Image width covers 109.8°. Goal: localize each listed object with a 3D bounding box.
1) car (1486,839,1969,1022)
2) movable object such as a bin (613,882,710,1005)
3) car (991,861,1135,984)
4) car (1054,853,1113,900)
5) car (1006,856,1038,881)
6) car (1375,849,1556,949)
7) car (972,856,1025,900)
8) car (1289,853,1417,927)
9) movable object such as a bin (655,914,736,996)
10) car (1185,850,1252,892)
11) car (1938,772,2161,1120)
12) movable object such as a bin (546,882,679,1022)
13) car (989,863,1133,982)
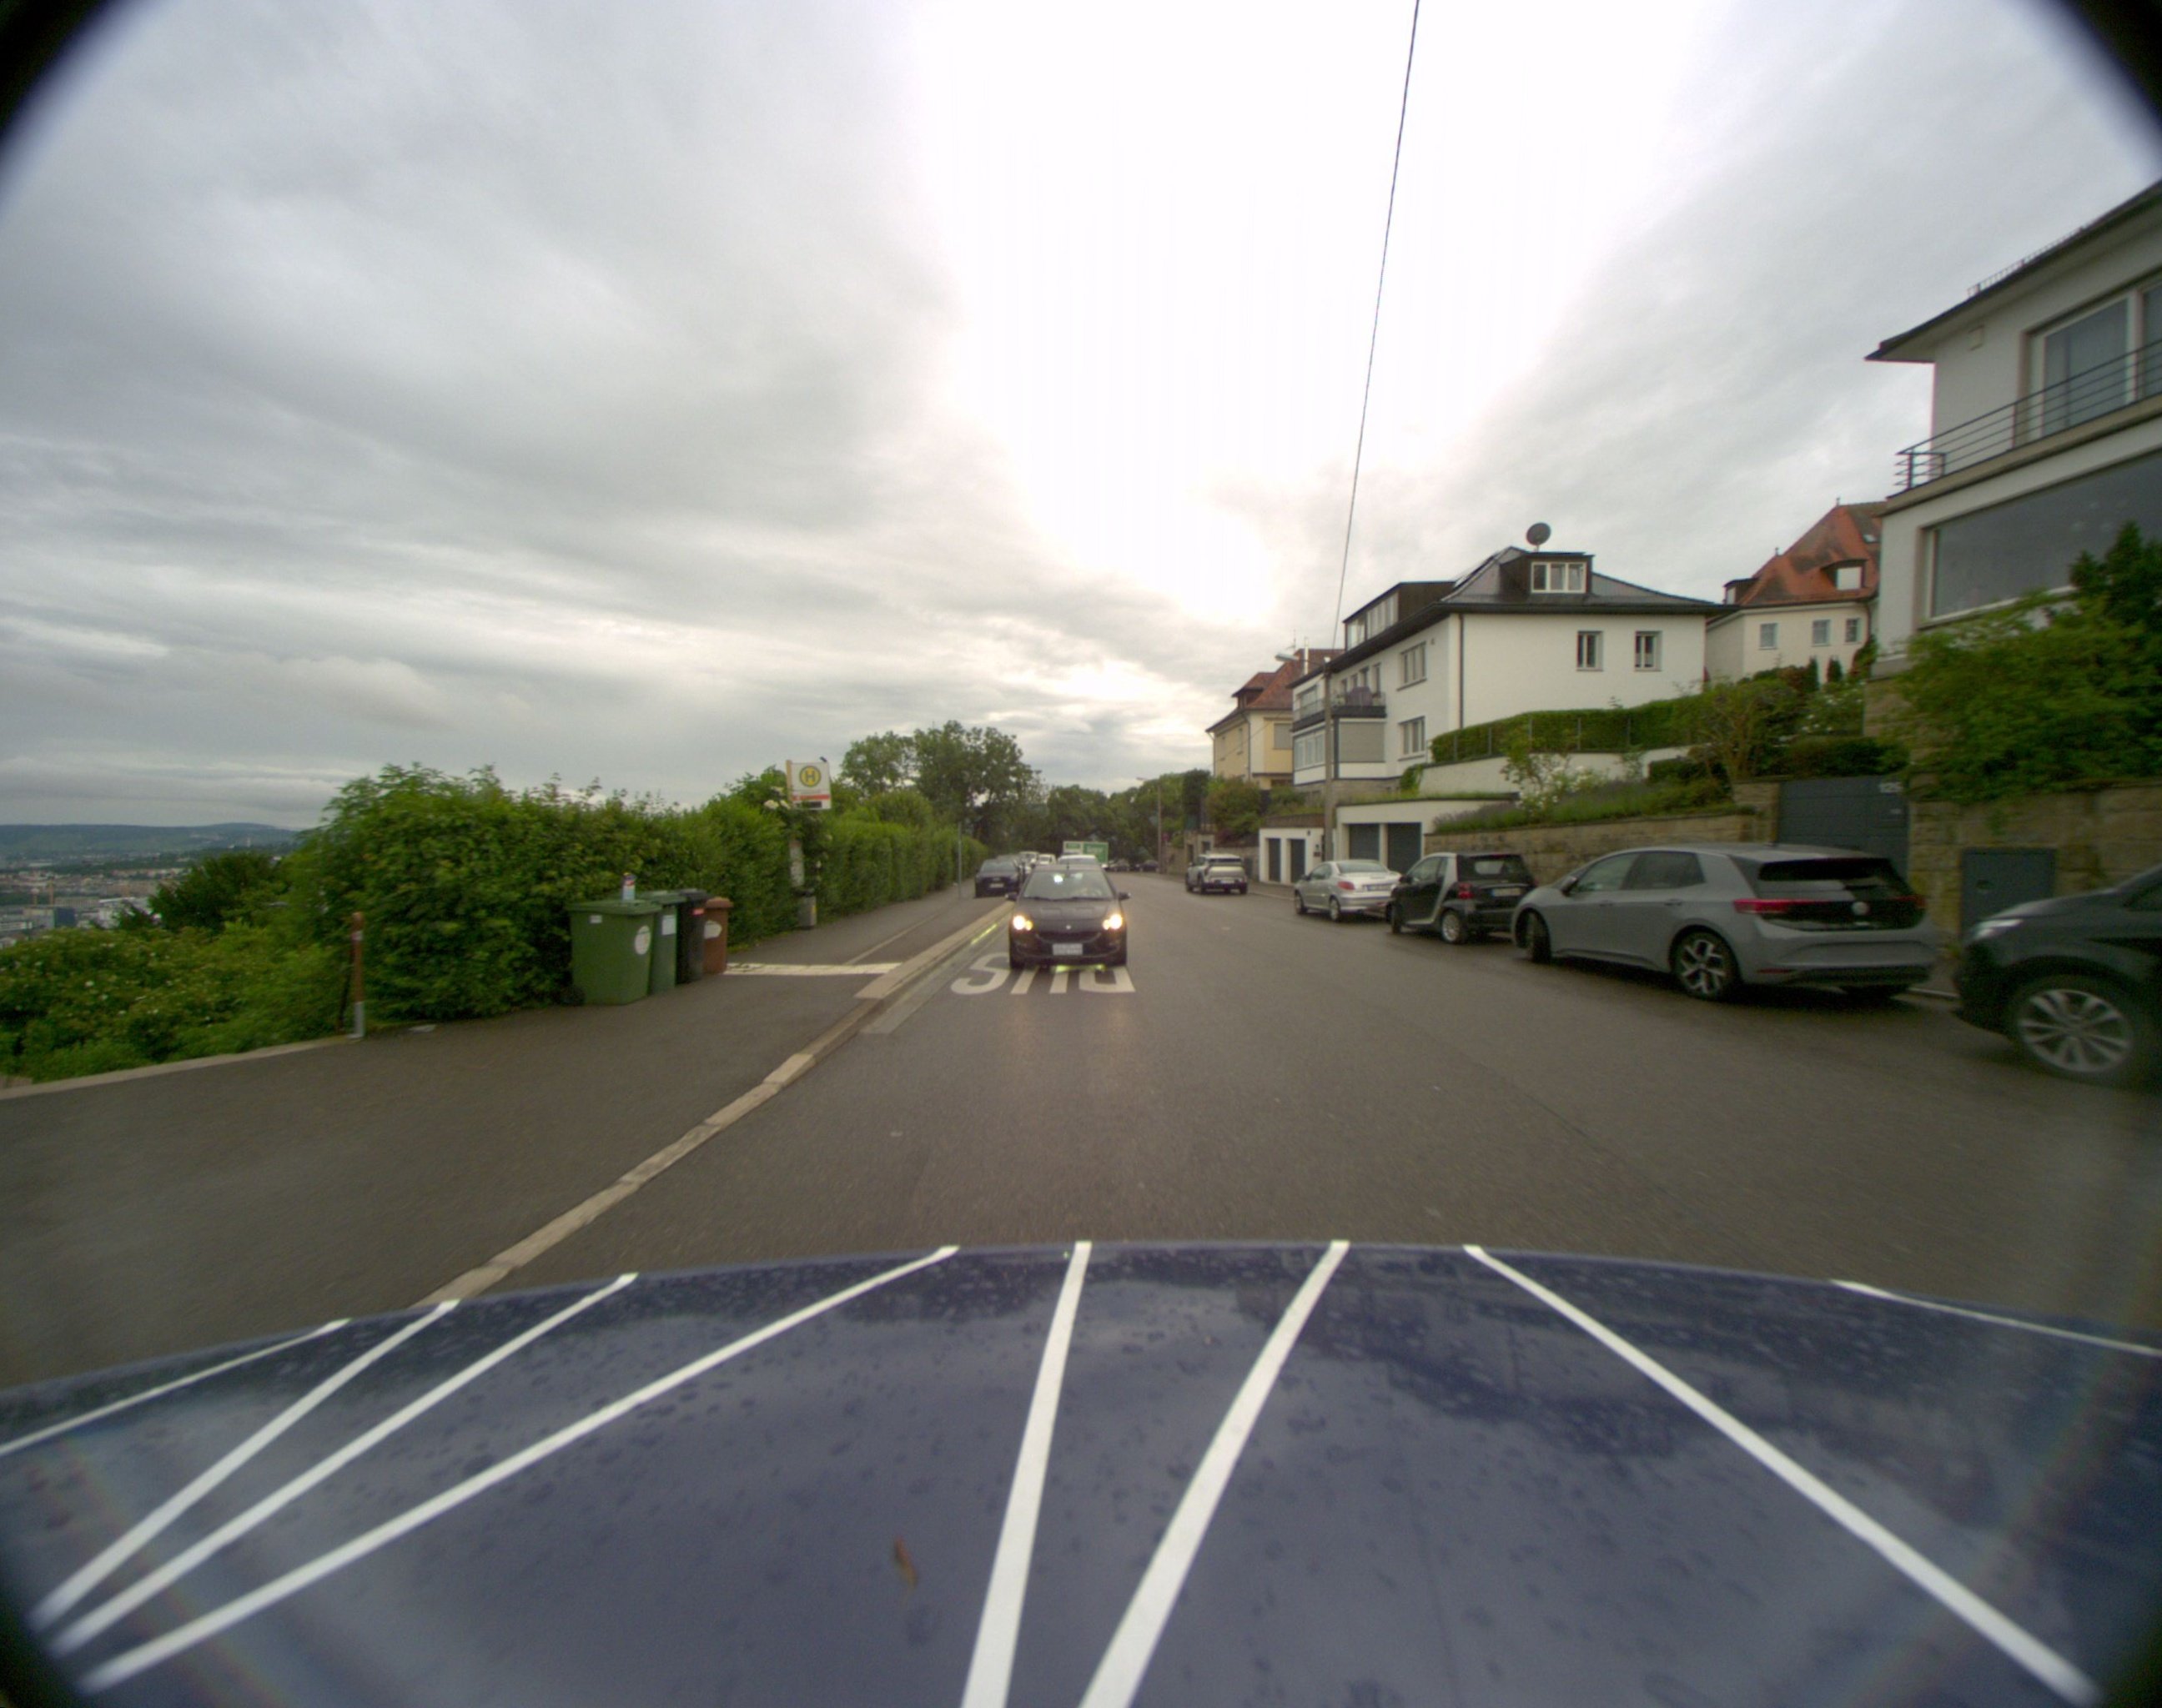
[{"bbox_3d":[6.777,0.656,8.771,1.696,1.482,4.402,-3,0,-1],"label":"car"},{"bbox_3d":[-4.563,0.950,8.308,0.613,1.239,0.684,-2,1,0],"label":"movable object such as a bin"},{"bbox_3d":[-0.102,0.930,11.990,1.695,1.482,3.941,-3,0,6],"label":"car"},{"bbox_3d":[0.020,0.789,28.866,1.929,1.577,3.998,-2,1,-3],"label":"car"},{"bbox_3d":[-3.760,0.913,49.307,1.929,1.447,3.998,-2,1,-3],"label":"car"},{"bbox_3d":[6.578,0.701,13.310,1.522,1.482,2.893,-3,0,-3],"label":"car"},{"bbox_3d":[-3.337,0.921,31.396,1.929,1.577,3.998,-2,1,-3],"label":"car"},{"bbox_3d":[6.264,0.756,17.881,1.594,1.482,3.436,-3,0,-3],"label":"car"},{"bbox_3d":[-4.544,1.181,8.979,0.613,0.858,0.589,-2,1,0],"label":"movable object such as a bin"},{"bbox_3d":[5.483,0.625,30.752,1.869,1.492,3.999,-2,1,-1],"label":"car"},{"bbox_3d":[7.133,0.457,2.926,1.999,1.945,4.772,-3,0,-6],"label":"car"},{"bbox_3d":[-4.576,0.922,7.487,0.727,1.239,0.916,1,1,0],"label":"movable object such as a bin"},{"bbox_3d":[-0.133,0.939,11.998,1.710,1.414,4.001,-2,1,6],"label":"car"}]
